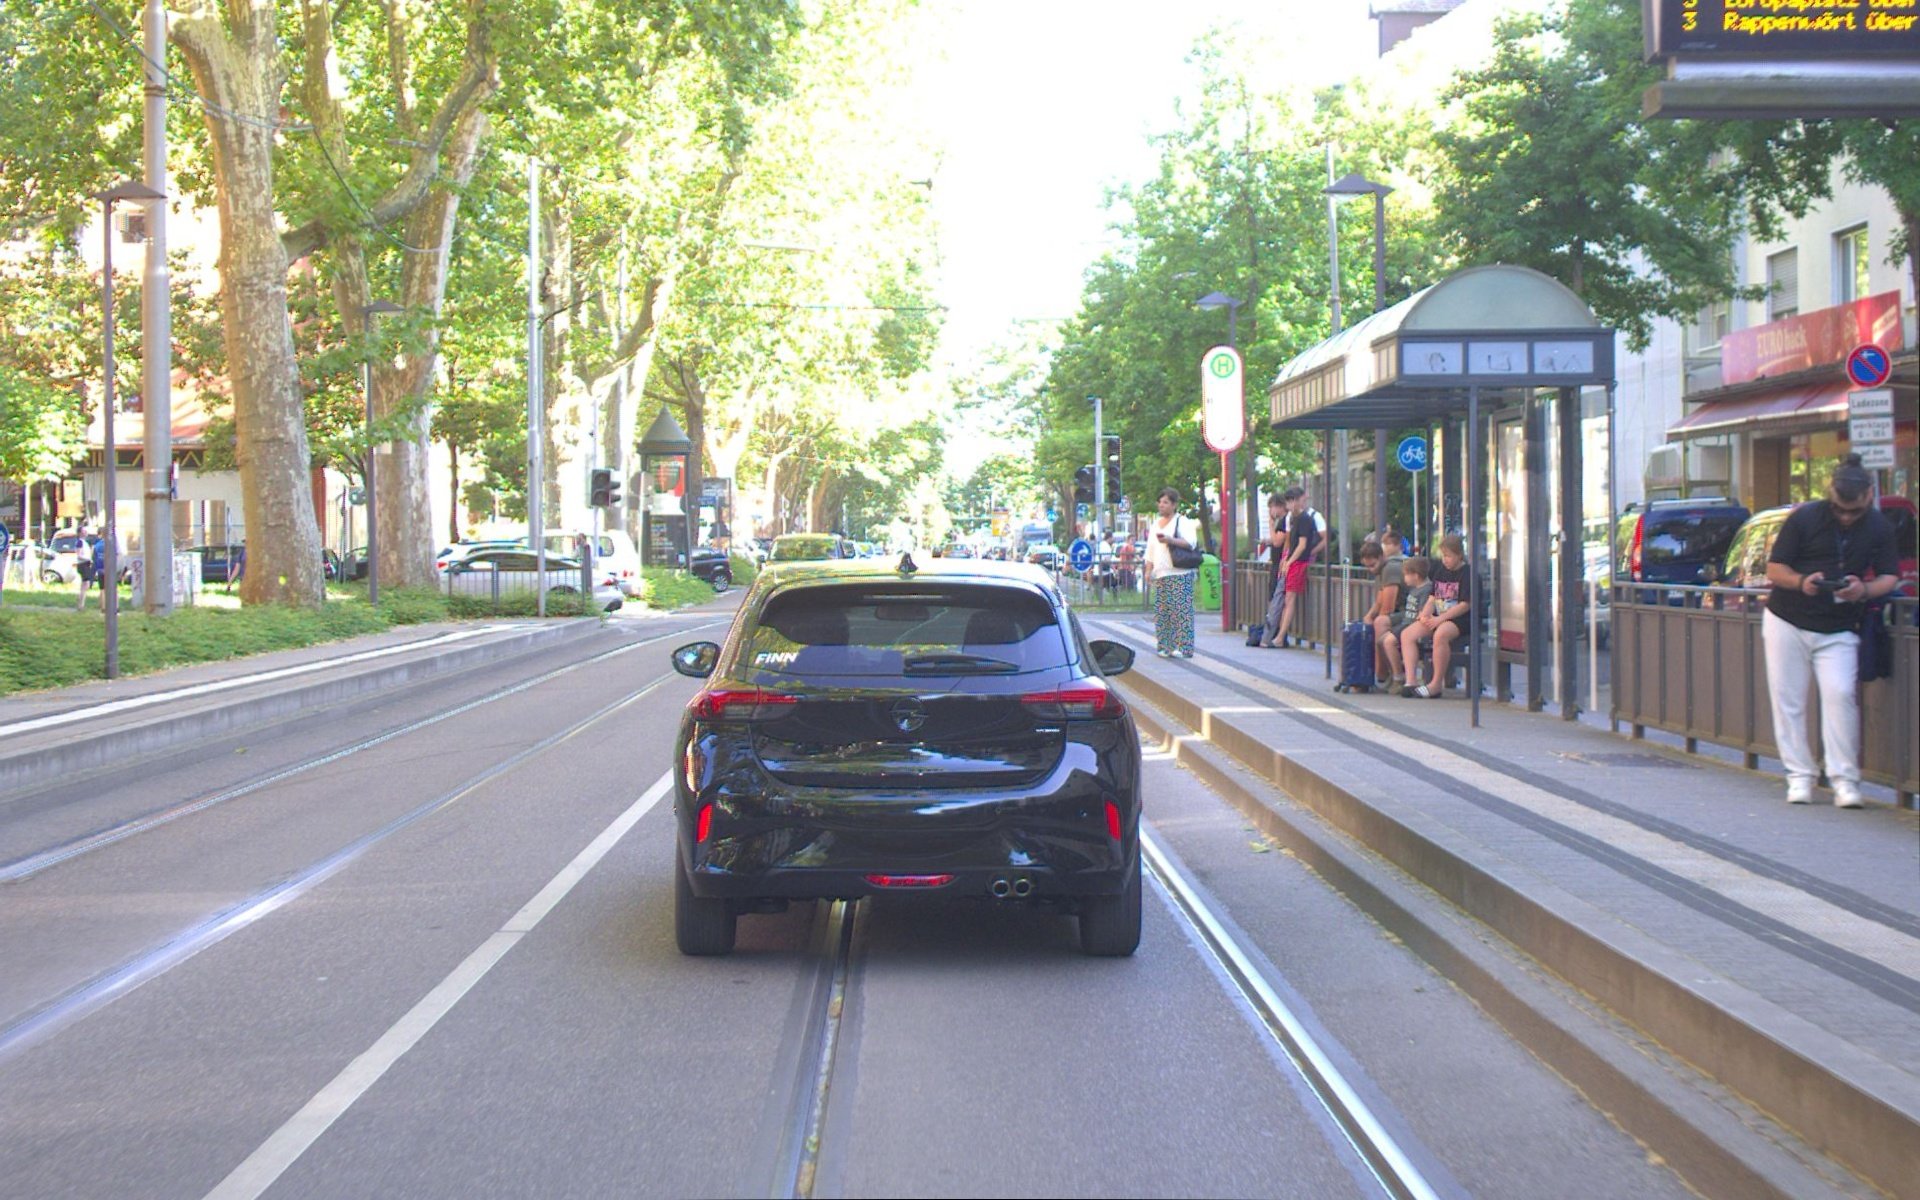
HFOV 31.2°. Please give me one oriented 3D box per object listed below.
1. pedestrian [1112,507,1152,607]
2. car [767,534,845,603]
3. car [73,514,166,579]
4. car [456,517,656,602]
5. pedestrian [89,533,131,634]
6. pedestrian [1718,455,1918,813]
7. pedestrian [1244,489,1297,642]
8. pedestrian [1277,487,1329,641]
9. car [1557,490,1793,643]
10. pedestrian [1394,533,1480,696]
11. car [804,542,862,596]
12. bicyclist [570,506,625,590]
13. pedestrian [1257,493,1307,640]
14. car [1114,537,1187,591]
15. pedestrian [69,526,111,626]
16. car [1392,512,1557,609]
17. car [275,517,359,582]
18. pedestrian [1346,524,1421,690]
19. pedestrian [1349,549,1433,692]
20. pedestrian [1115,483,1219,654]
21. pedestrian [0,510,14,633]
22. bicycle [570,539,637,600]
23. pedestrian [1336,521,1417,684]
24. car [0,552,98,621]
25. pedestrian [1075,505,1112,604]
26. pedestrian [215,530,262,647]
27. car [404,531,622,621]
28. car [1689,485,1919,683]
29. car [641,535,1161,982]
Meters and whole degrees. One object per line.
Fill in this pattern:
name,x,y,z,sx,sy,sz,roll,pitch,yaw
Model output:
pedestrian,3.503,-0.876,70.038,0.675,2.007,0.701,2,1,11
car,-3.570,-0.734,79.756,1.745,1.539,4.000,1,1,-2
car,-26.659,-1.689,109.191,1.993,2.007,4.000,1,1,-1
car,-9.096,-0.916,77.334,4.383,1.845,2.000,0,1,-8
pedestrian,-16.497,-0.323,66.739,0.672,1.943,0.498,2,1,-4
pedestrian,3.909,0.140,15.716,0.630,1.571,0.871,2,1,-1
pedestrian,3.507,-0.389,38.888,0.531,1.703,0.752,1,0,2
pedestrian,3.941,-0.414,39.513,0.531,1.757,0.661,1,0,2
car,8.813,-0.414,42.699,1.993,1.791,4.000,1,1,-1
pedestrian,3.621,0.108,26.137,0.534,1.226,0.510,1,0,-5
car,-4.086,-0.991,110.394,1.785,1.687,4.000,1,1,-2
bicyclist,-7.471,-1.065,70.861,0.941,1.697,1.153,1,0,2
pedestrian,3.762,-0.396,40.241,0.531,1.703,0.596,1,0,2
car,5.894,-1.108,106.840,1.993,1.627,4.000,1,1,-1
pedestrian,-17.104,-0.480,67.613,0.672,1.943,0.498,2,1,-4
car,8.197,-0.636,55.068,1.993,1.481,4.000,1,1,-1
car,-20.548,-1.612,109.993,1.993,2.007,4.000,1,1,-1
pedestrian,3.349,0.053,27.186,0.502,1.300,0.429,1,0,-5
pedestrian,3.337,0.154,26.652,0.534,1.096,0.551,1,0,-5
pedestrian,2.095,-0.319,34.702,0.751,1.703,0.762,1,1,34
pedestrian,-15.332,-0.449,54.261,0.496,1.943,0.674,1,0,12
bicycle,-7.434,-0.637,71.776,0.955,1.236,2.977,1,1,2
pedestrian,3.363,0.016,27.771,0.534,1.300,0.551,1,0,-5
car,-27.908,-0.406,101.805,4.250,2.007,2.000,1,1,-1
pedestrian,2.738,-0.942,70.534,0.675,2.007,0.701,2,1,5
pedestrian,-12.063,-0.194,57.513,0.672,1.943,0.498,1,0,-1
car,-8.650,-0.463,66.574,4.113,1.695,1.884,0,1,-8
car,9.118,-0.176,36.049,1.993,1.946,4.000,1,1,-1
car,-0.290,0.520,13.588,1.759,1.503,3.683,-1,1,-3
